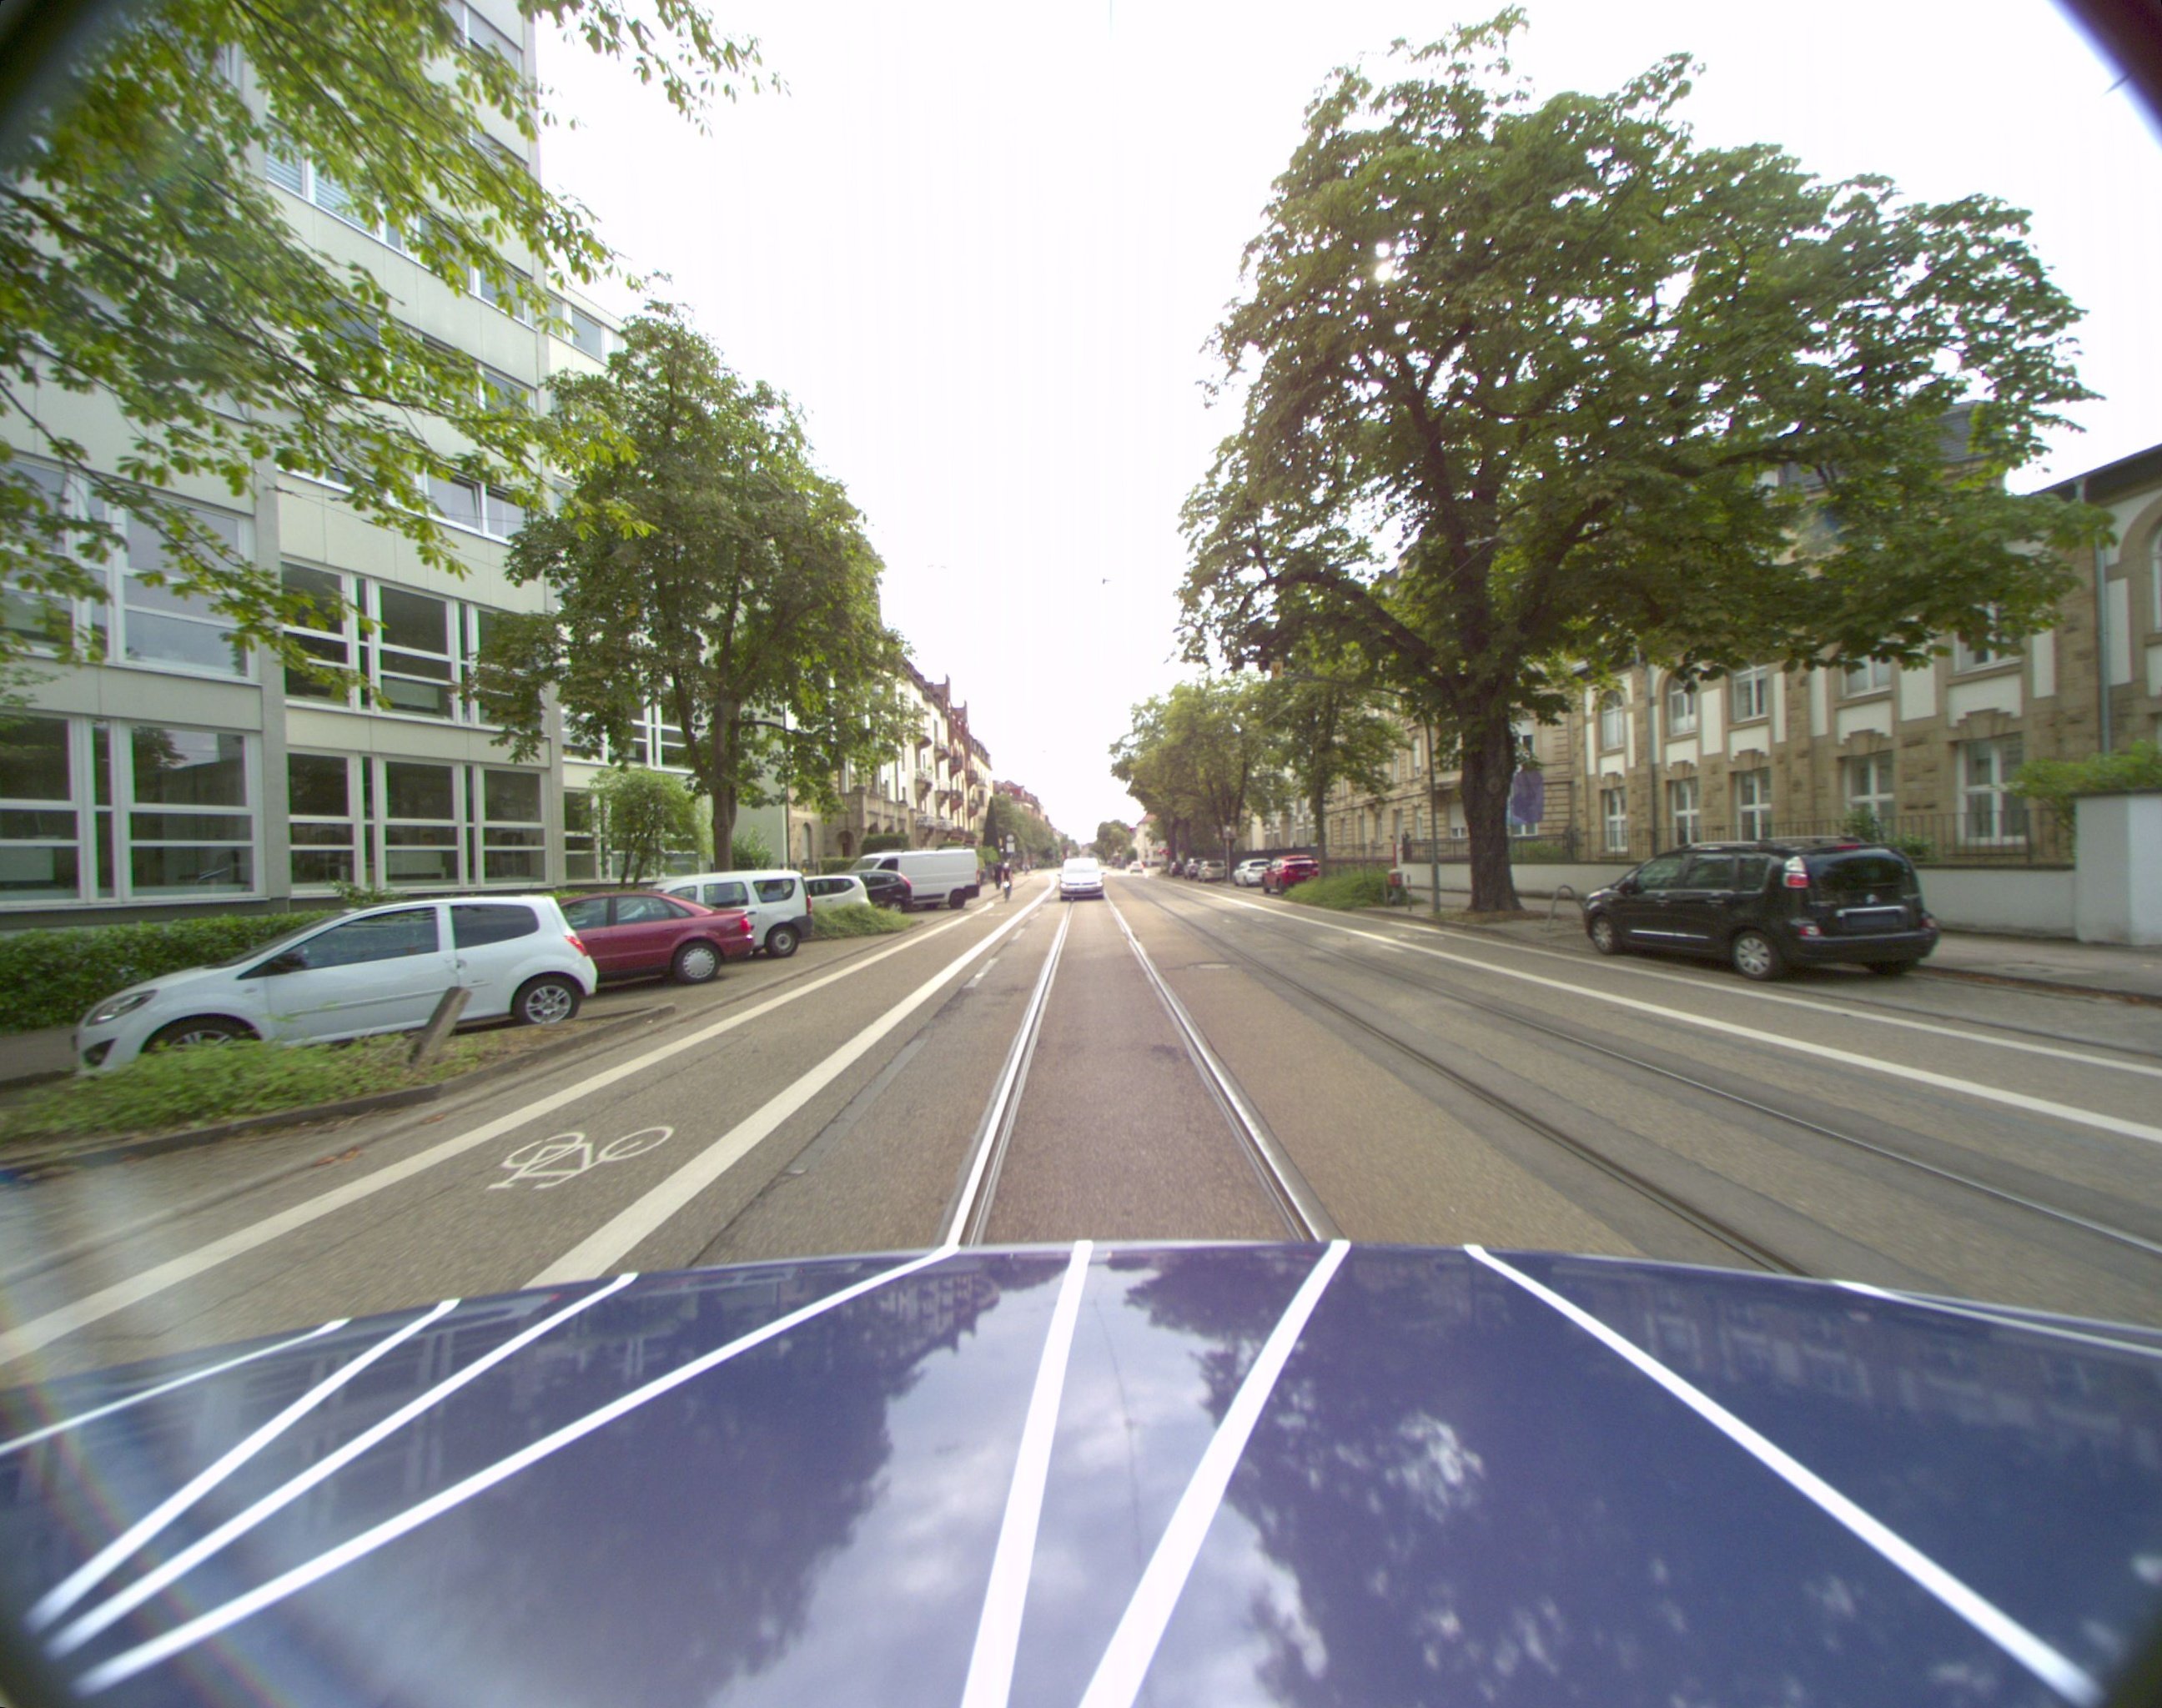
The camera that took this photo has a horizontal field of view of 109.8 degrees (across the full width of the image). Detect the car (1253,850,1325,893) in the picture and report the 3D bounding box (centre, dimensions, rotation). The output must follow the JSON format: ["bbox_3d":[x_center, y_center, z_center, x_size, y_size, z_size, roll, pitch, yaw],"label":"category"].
[{"bbox_3d":[8.940,0.719,32.991,1.726,1.645,4.542,-4,0,-1],"label":"car"}]

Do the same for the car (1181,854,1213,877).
[{"bbox_3d":[9.005,0.854,59.303,1.715,1.664,4.357,-2,0,0],"label":"car"}]

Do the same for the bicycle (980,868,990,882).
[{"bbox_3d":[-6.683,1.474,53.026,0.487,0.902,1.665,-1,1,1],"label":"bicycle"}]

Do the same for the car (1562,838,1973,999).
[{"bbox_3d":[8.641,0.691,10.158,1.760,1.637,4.052,-3,0,0],"label":"car"}]

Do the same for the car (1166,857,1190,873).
[{"bbox_3d":[9.118,1.009,71.705,1.724,1.416,4.166,-4,0,2],"label":"car"}]

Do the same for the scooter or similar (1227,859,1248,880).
[{"bbox_3d":[9.236,0.899,44.879,0.563,1.215,1.321,-2,0,-23],"label":"scooter or similar"}]

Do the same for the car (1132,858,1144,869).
[{"bbox_3d":[7.455,1.190,99.393,1.574,1.407,4.001,0,0,4],"label":"car"}]

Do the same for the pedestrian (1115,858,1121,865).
[{"bbox_3d":[6.978,1.369,142.943,1.033,1.229,0.723,-3,0,-1],"label":"pedestrian"}]

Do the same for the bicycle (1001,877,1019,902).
[{"bbox_3d":[-3.102,1.544,33.154,0.640,0.975,2.071,-1,0,-2],"label":"bicycle"}]

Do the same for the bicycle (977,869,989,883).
[{"bbox_3d":[-6.596,1.457,51.240,0.487,0.902,1.665,-1,1,3],"label":"bicycle"}]

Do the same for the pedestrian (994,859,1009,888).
[{"bbox_3d":[-4.786,1.135,45.624,0.787,1.722,0.896,0,0,0],"label":"pedestrian"}]

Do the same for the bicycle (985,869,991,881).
[{"bbox_3d":[-6.708,1.511,54.838,0.278,0.847,1.198,-1,1,1],"label":"bicycle"}]

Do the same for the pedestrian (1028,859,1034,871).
[{"bbox_3d":[-7.157,1.535,108.652,0.721,1.650,0.759,2,0,-4],"label":"pedestrian"}]

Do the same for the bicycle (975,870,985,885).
[{"bbox_3d":[-6.563,1.492,49.328,0.487,0.902,1.663,-1,1,-11],"label":"bicycle"}]

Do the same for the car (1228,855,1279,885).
[{"bbox_3d":[9.383,0.841,41.646,1.726,1.415,4.023,-4,0,-1],"label":"car"}]

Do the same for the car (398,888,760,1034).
[{"bbox_3d":[-6.890,1.317,10.681,3.983,1.424,1.685,-3,0,-42],"label":"car"}]

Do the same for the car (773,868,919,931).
[{"bbox_3d":[-7.246,1.352,23.682,3.968,1.639,1.685,-3,1,-45],"label":"car"}]

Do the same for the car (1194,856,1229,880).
[{"bbox_3d":[8.853,0.924,51.793,1.604,1.459,4.079,-2,0,0],"label":"car"}]

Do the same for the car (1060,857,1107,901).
[{"bbox_3d":[0.142,0.999,32.513,1.767,1.660,4.330,-3,0,1],"label":"car"}]

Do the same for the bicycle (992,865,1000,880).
[{"bbox_3d":[-6.618,1.403,59.054,0.392,1.135,1.921,0,0,0],"label":"bicycle"}]

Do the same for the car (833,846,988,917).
[{"bbox_3d":[-6.245,0.928,28.160,4.968,2.277,2.378,-3,1,-42],"label":"car"}]

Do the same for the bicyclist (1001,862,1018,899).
[{"bbox_3d":[-3.107,1.153,33.129,0.640,1.561,1.110,-1,0,-2],"label":"bicyclist"}]

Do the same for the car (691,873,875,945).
[{"bbox_3d":[-7.688,1.347,19.867,4.100,1.502,1.685,-3,0,-45],"label":"car"}]

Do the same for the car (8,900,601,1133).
[{"bbox_3d":[-7.144,1.313,7.516,3.723,1.424,1.685,-3,0,-45],"label":"car"}]

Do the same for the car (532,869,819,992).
[{"bbox_3d":[-7.025,1.202,13.469,4.116,1.658,1.685,-3,1,-45],"label":"car"}]
